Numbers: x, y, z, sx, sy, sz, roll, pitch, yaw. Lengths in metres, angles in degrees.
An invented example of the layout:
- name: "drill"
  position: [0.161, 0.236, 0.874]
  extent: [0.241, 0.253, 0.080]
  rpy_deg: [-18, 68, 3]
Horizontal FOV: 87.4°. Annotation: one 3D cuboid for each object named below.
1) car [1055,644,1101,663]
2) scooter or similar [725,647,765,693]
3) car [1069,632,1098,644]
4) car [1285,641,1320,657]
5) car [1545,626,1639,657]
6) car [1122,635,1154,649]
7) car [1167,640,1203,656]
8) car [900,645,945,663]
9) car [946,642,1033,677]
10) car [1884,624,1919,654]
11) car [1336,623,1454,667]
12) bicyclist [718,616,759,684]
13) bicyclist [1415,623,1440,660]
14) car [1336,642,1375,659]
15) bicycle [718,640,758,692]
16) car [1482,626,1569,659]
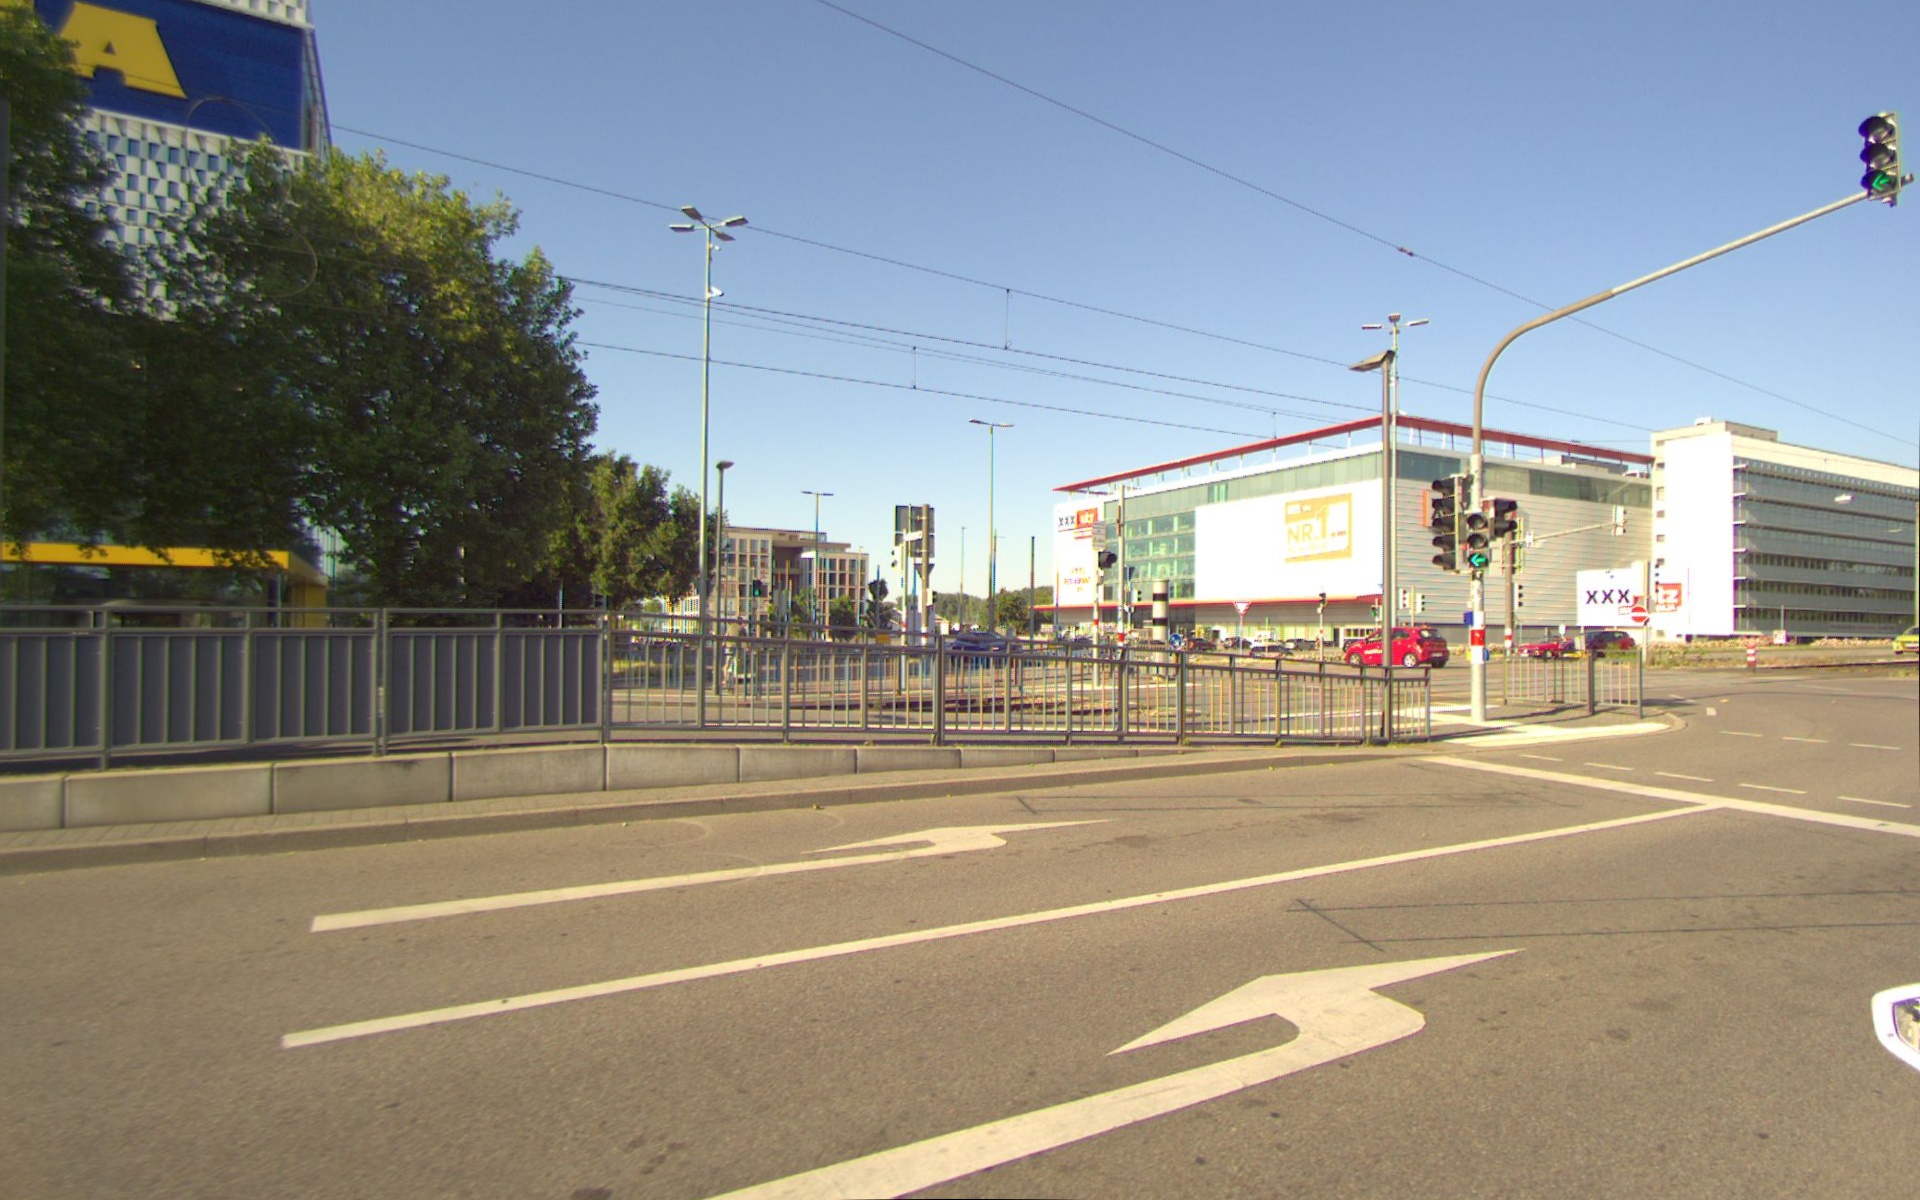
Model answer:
- name: "car"
  position: [10.941, 4.937, 93.042]
  extent: [3.958, 1.614, 1.917]
  rpy_deg: [0, 1, -34]
- name: "scooter or similar"
  position: [-5.036, 1.633, 23.519]
  extent: [0.777, 1.028, 1.062]
  rpy_deg: [2, -3, -19]
- name: "car"
  position: [17.797, 5.465, 144.479]
  extent: [3.961, 1.640, 1.860]
  rpy_deg: [0, 1, -36]
- name: "car"
  position: [41.491, 5.932, 121.682]
  extent: [3.954, 1.725, 1.911]
  rpy_deg: [0, 1, -31]
- name: "car"
  position: [31.839, 2.095, 50.614]
  extent: [4.069, 1.495, 1.933]
  rpy_deg: [1, -4, -21]
- name: "car"
  position: [23.509, 5.534, 132.632]
  extent: [3.958, 1.640, 1.862]
  rpy_deg: [0, 1, -34]
- name: "car"
  position: [27.055, 5.765, 120.947]
  extent: [3.954, 1.838, 1.983]
  rpy_deg: [0, 1, -31]
- name: "car"
  position: [-3.595, 5.196, 96.449]
  extent: [4.167, 1.589, 1.907]
  rpy_deg: [1, 1, -5]
- name: "car"
  position: [1.276, 2.725, 45.474]
  extent: [1.993, 1.517, 4.224]
  rpy_deg: [2, -5, -31]
- name: "car"
  position: [48.526, 1.938, 50.581]
  extent: [4.058, 1.466, 1.776]
  rpy_deg: [1, -3, -30]
- name: "car"
  position: [15.612, 1.648, 36.188]
  extent: [1.751, 1.478, 3.558]
  rpy_deg: [2, -4, -30]
- name: "bicyclist"
  position: [-5.525, 1.242, 25.006]
  extent: [0.810, 1.638, 1.480]
  rpy_deg: [2, -3, -19]
- name: "bicyclist"
  position: [19.726, 1.738, 42.421]
  extent: [0.740, 1.543, 0.586]
  rpy_deg: [0, 1, -23]
- name: "car"
  position: [44.691, 5.649, 113.483]
  extent: [4.397, 1.725, 1.911]
  rpy_deg: [0, 1, -31]
- name: "bicycle"
  position: [-5.563, 1.619, 25.091]
  extent: [0.703, 1.234, 2.270]
  rpy_deg: [2, -3, -19]
- name: "car"
  position: [30.630, 2.306, 54.410]
  extent: [3.933, 1.664, 1.821]
  rpy_deg: [0, -2, -15]
